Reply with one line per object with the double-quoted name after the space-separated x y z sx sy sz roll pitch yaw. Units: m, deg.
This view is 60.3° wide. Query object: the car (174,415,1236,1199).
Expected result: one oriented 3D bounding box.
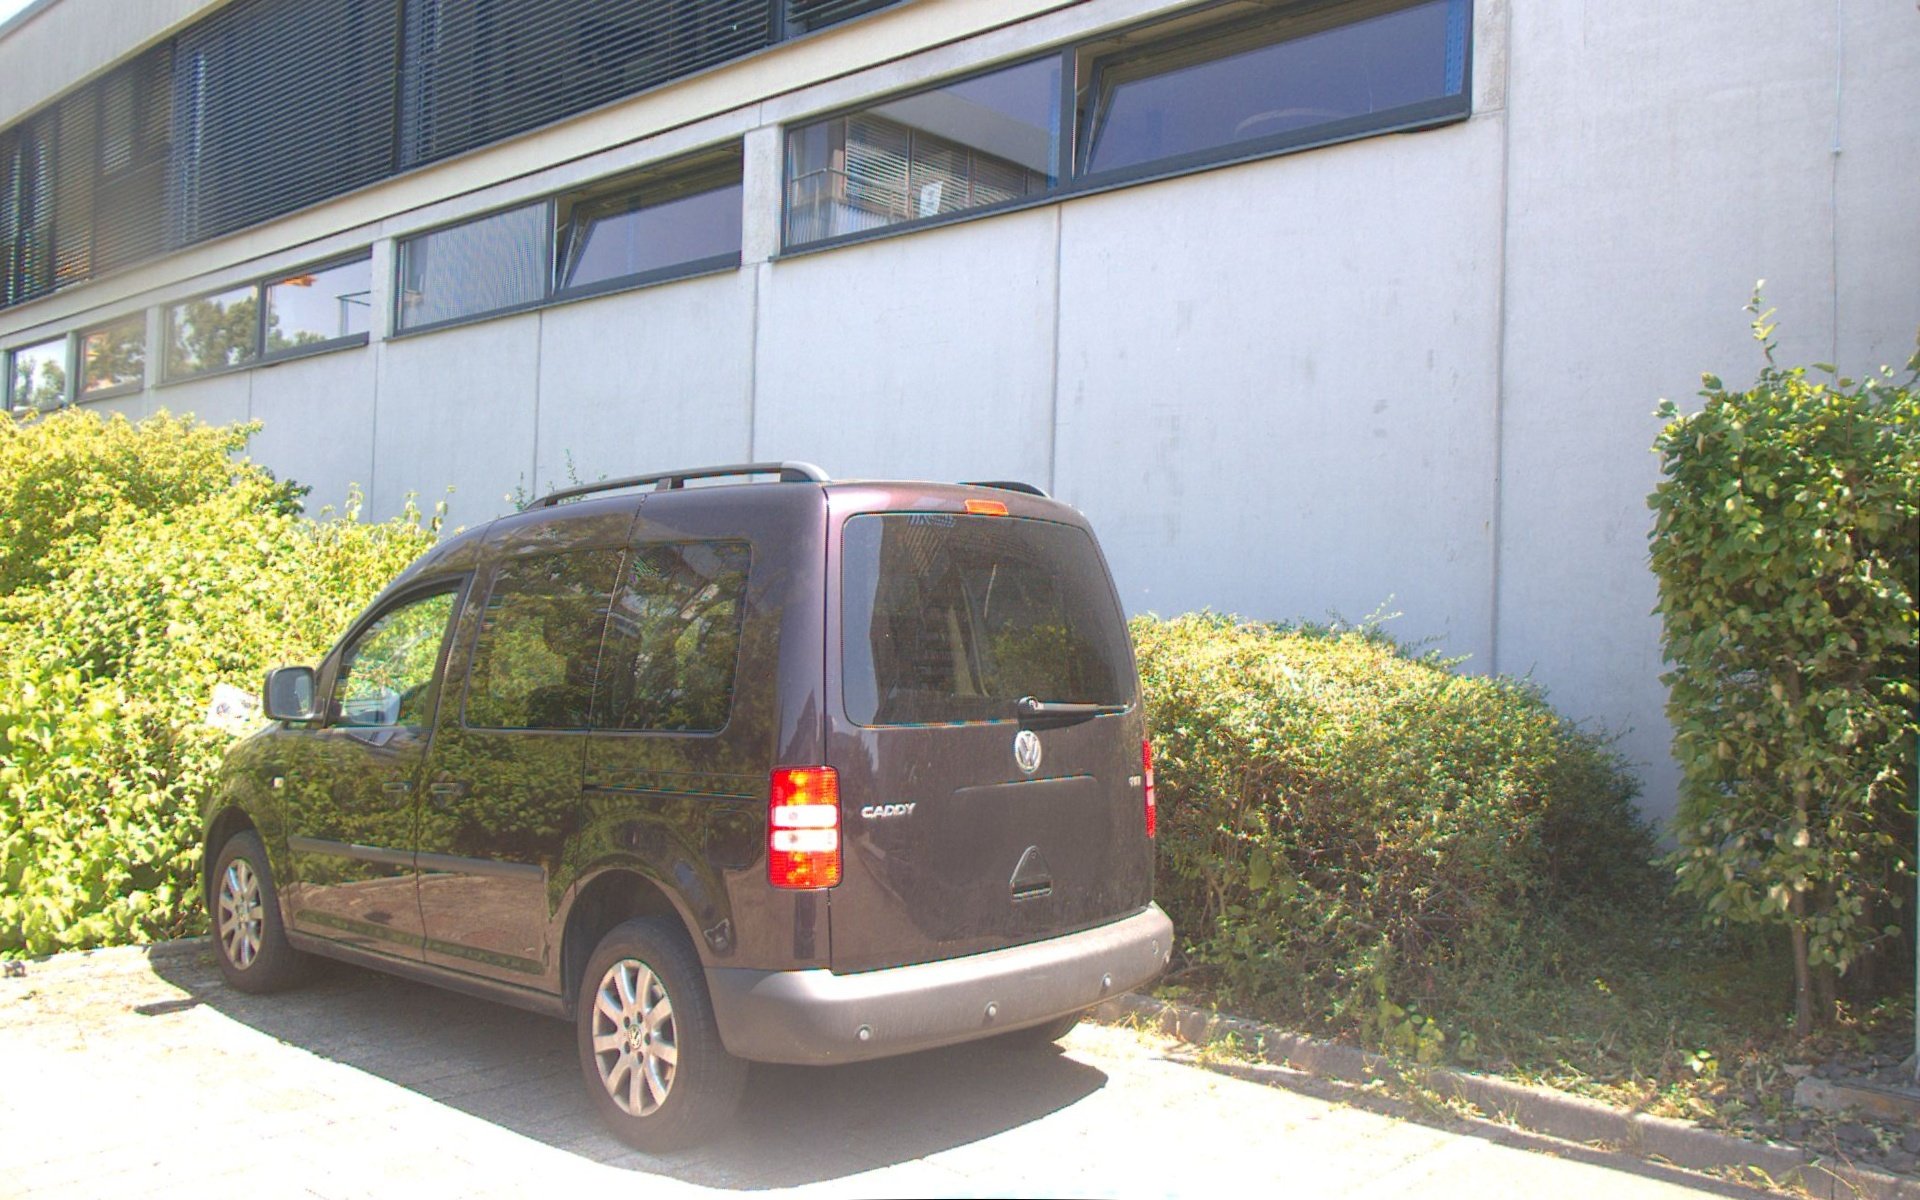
-1.159 0.514 5.905 4.002 1.917 1.667 1 0 44 "car"
